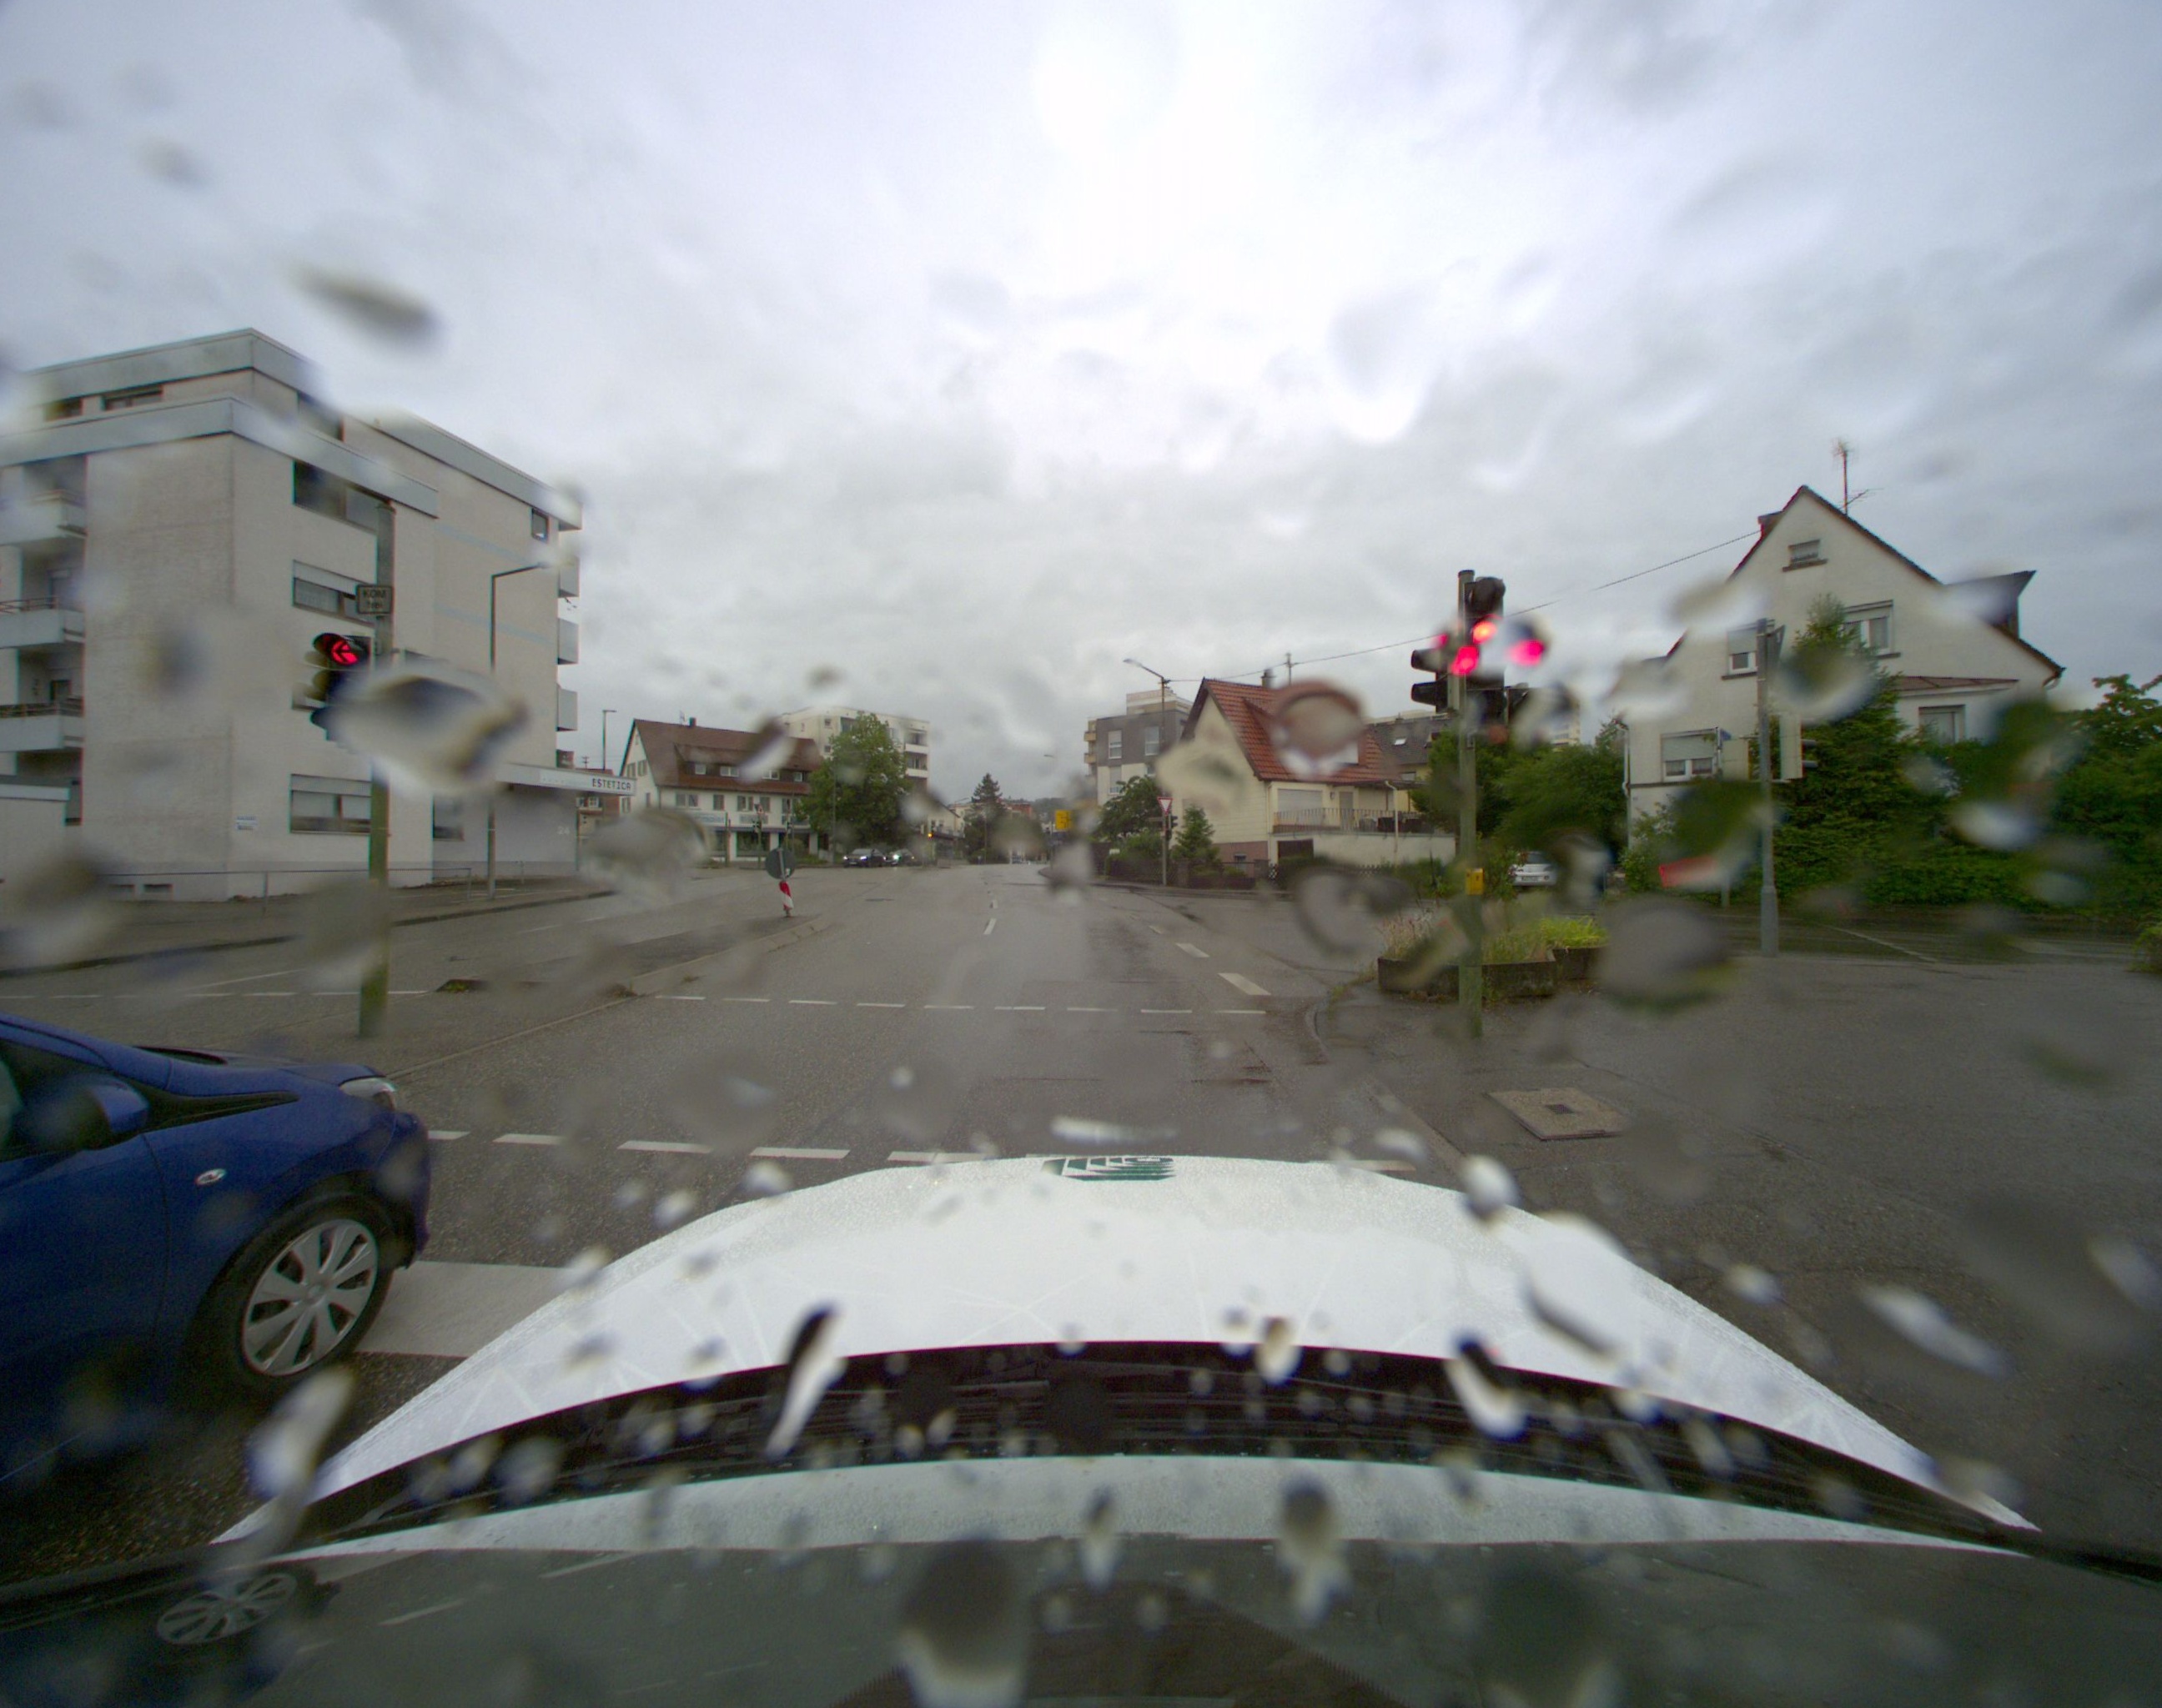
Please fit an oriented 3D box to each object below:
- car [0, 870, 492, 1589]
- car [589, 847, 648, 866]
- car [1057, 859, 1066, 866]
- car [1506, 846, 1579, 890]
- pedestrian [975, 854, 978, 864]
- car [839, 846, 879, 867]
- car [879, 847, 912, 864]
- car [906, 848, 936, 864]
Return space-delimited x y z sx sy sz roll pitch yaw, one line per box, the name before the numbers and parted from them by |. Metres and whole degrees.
car | -2.979 0.778 1.322 1.572 1.410 3.272 0 0 2
car | -38.419 0.169 67.690 3.988 1.572 1.850 0 1 -42
car | -4.373 1.811 182.745 1.805 1.486 4.192 -1 0 3
car | 17.103 0.477 30.076 1.723 1.514 4.025 0 0 39
pedestrian | -17.656 0.840 137.607 0.494 1.658 0.435 0 0 7
car | -16.114 0.155 59.281 1.772 1.420 3.832 0 0 2
car | -15.163 0.085 66.691 1.709 1.387 4.022 0 0 2
car | -14.463 0.152 73.807 1.772 1.420 3.832 0 0 2
